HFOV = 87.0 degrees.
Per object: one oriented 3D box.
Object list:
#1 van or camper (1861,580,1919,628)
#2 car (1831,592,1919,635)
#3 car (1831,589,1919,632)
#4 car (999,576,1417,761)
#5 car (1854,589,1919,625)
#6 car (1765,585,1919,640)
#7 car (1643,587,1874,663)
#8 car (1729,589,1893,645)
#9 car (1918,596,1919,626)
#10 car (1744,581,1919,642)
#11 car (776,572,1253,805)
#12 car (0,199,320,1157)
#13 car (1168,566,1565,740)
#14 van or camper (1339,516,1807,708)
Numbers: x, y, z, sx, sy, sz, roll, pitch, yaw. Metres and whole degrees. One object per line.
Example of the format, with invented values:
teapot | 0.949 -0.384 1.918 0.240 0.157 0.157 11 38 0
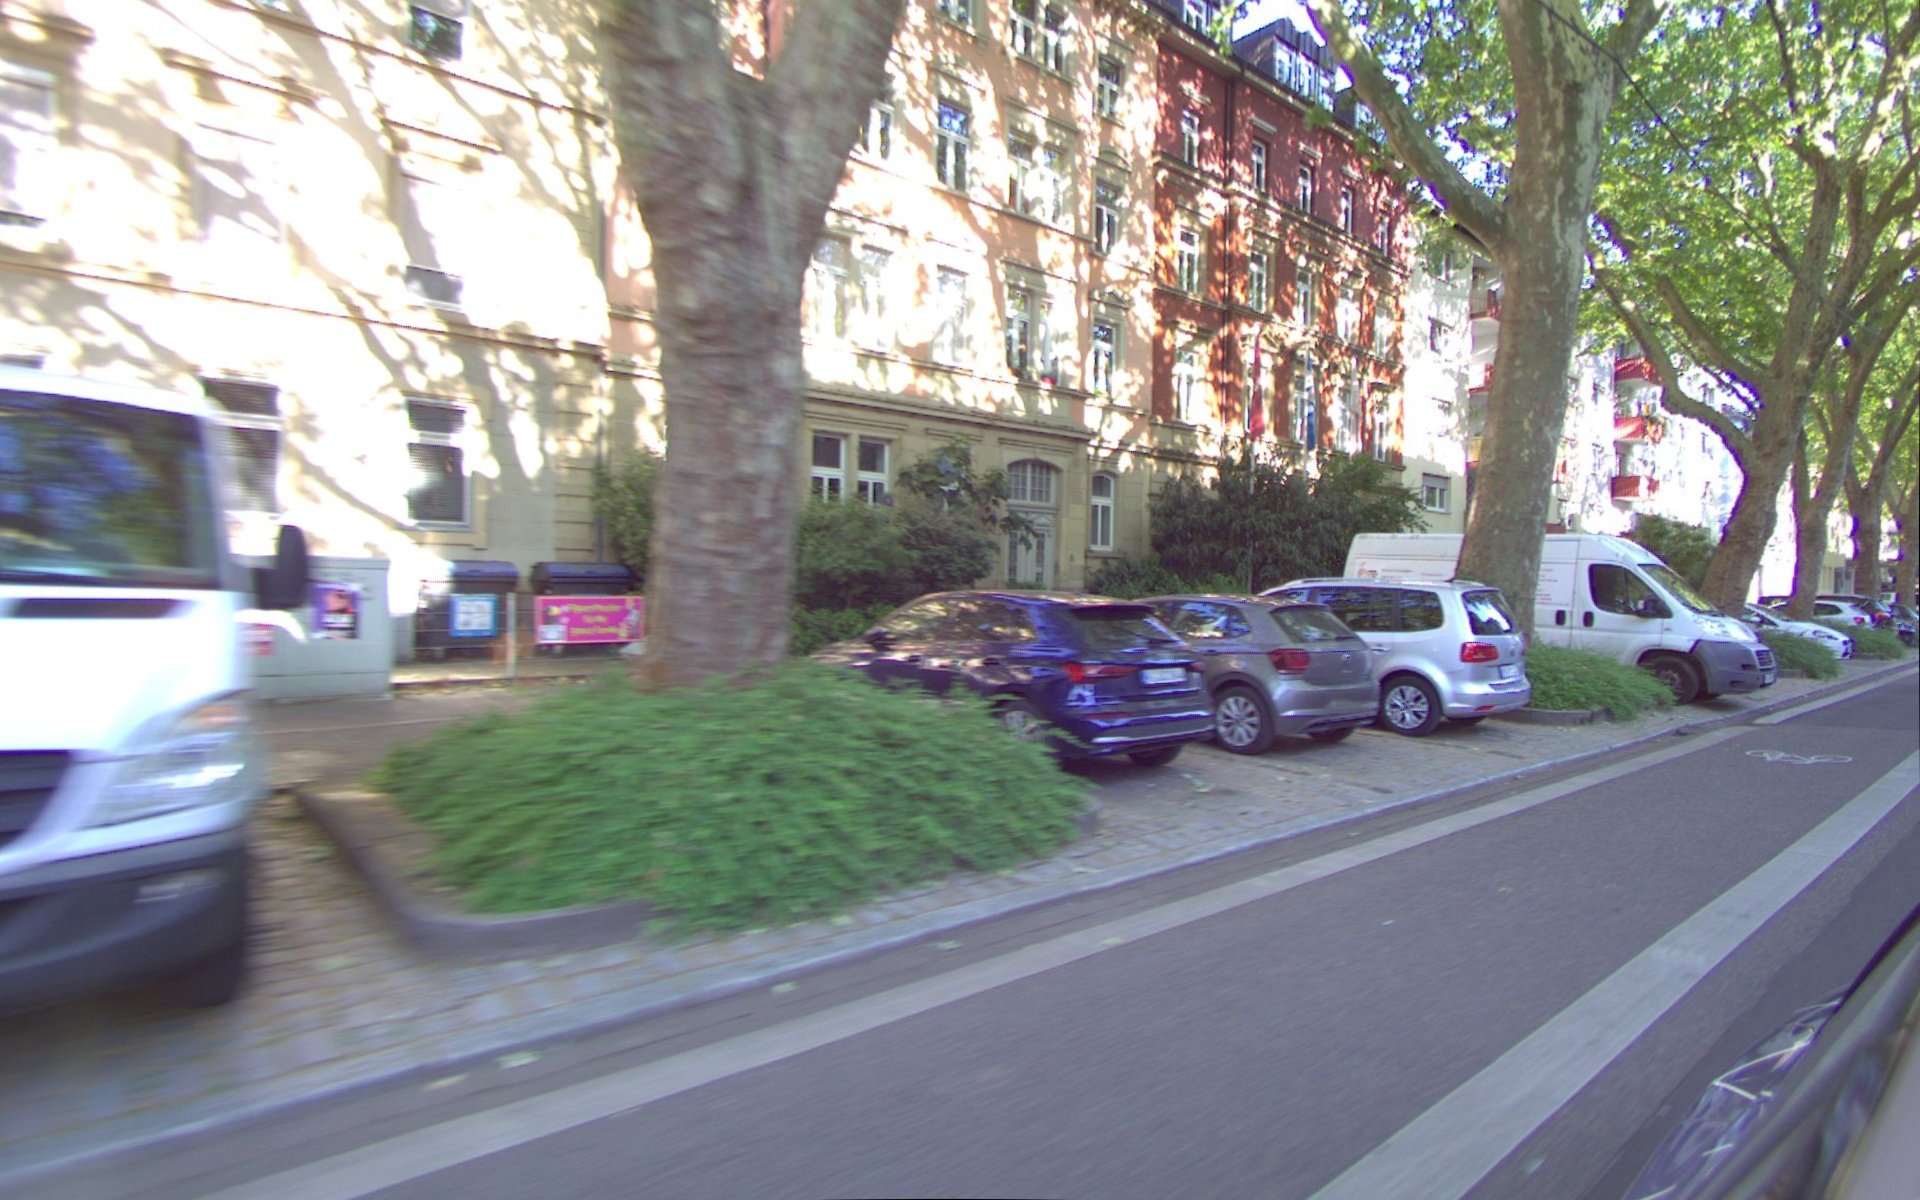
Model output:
van or camper | 44.217 0.185 46.264 1.808 2.136 4.382 0 2 -43
car | 35.937 0.520 38.287 1.877 1.500 4.207 0 2 -38
car | 34.285 0.387 36.794 1.672 1.461 3.829 0 3 -45
car | 2.387 0.532 10.547 1.764 1.496 3.963 0 2 -40
car | 41.962 0.310 44.677 1.648 1.550 3.568 0 2 -41
car | 29.655 0.360 33.648 1.713 1.673 4.297 0 1 -42
car | 18.590 0.515 23.716 1.658 1.498 3.964 0 2 -39
car | 25.746 0.471 30.702 1.631 1.514 3.615 0 1 -41
car | 48.333 0.580 48.280 1.694 1.457 3.573 0 2 -36
car | 27.637 0.318 32.154 1.773 1.766 4.003 0 1 -40
car | 0.245 0.531 8.709 1.765 1.478 4.061 0 2 -41
car | -4.426 0.102 4.596 1.969 2.311 6.008 1 1 -38
car | 4.612 0.453 11.899 1.766 1.676 3.960 -1 2 -42
van or camper | 9.441 0.055 16.223 2.070 2.521 6.045 0 2 -40
